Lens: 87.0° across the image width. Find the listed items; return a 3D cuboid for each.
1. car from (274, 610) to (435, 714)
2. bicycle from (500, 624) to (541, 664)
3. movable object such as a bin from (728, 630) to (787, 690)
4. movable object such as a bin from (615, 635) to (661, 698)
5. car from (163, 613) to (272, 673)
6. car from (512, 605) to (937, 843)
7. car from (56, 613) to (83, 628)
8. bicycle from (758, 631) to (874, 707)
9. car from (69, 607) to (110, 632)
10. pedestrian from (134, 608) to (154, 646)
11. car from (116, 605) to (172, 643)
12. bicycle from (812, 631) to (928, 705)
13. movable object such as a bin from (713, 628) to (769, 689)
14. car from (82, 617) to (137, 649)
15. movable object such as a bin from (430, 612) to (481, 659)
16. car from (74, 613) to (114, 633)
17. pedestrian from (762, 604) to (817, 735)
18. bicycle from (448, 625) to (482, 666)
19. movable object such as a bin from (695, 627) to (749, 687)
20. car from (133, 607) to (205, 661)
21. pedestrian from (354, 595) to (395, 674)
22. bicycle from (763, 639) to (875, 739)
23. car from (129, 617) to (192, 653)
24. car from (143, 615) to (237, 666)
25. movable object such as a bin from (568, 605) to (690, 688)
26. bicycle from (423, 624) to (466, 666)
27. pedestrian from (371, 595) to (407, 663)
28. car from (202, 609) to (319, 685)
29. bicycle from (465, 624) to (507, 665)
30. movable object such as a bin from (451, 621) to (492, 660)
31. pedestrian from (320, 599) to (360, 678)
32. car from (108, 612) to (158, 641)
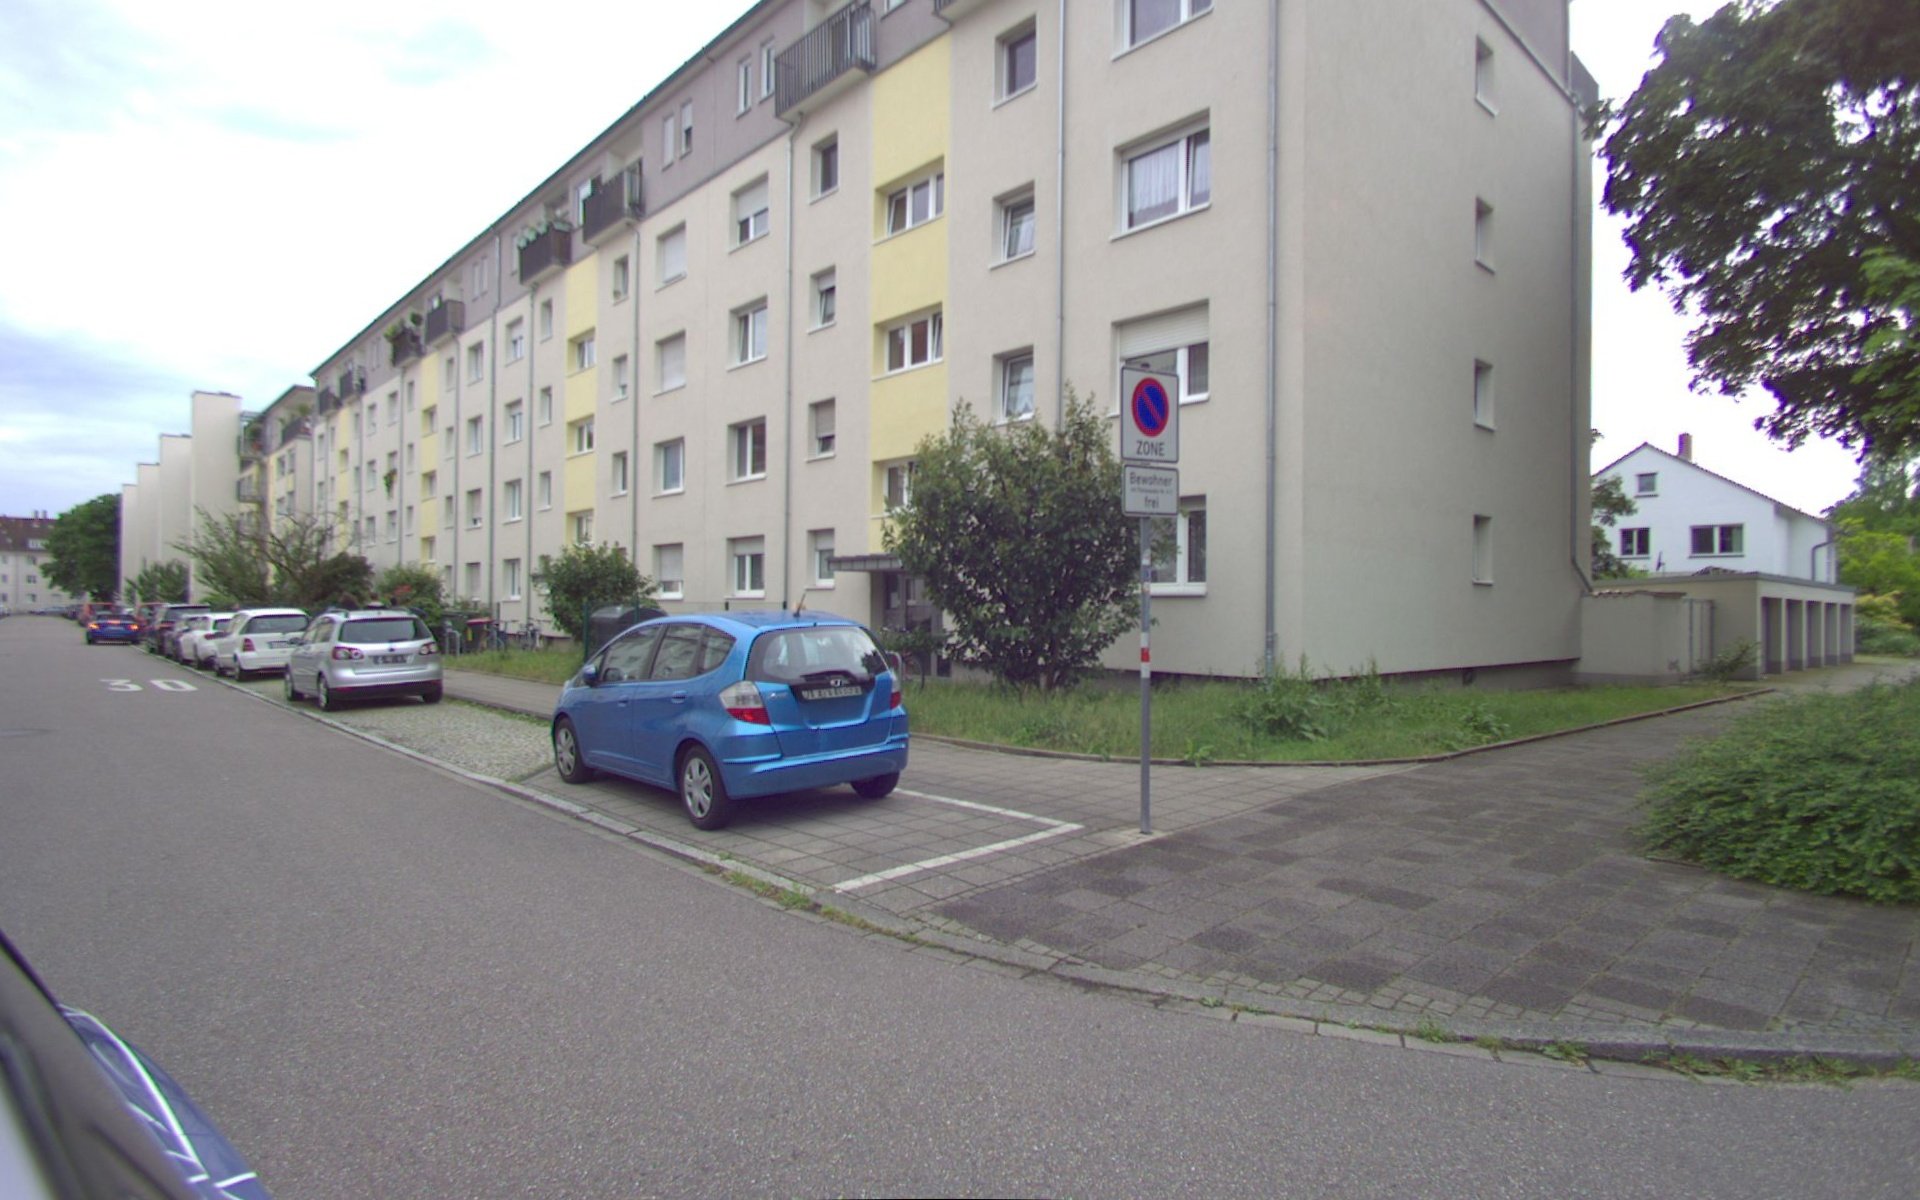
[{"bbox_3d":[-10.421,0.970,17.296,1.634,1.562,3.920,0,-1,-42],"label":"car"},{"bbox_3d":[-11.790,1.159,27.134,1.559,1.032,0.415,-1,-2,44],"label":"bicycle"},{"bbox_3d":[-3.716,1.093,18.563,0.854,1.059,0.634,1,-2,-45],"label":"movable object such as a bin"},{"bbox_3d":[-5.485,1.124,17.243,0.530,1.041,0.598,1,-2,-44],"label":"movable object such as a bin"},{"bbox_3d":[-20.501,1.153,27.871,4.689,1.521,1.698,-2,-2,45],"label":"car"},{"bbox_3d":[-2.160,0.820,8.508,1.710,1.473,3.961,-2,1,-43],"label":"car"},{"bbox_3d":[-97.635,2.260,110.932,3.636,1.555,1.722,-2,-2,41],"label":"car"},{"bbox_3d":[-2.244,1.020,15.524,0.649,1.079,2.178,1,-2,-42],"label":"bicycle"},{"bbox_3d":[-71.429,1.614,83.000,4.424,2.047,2.157,-2,-2,44],"label":"car"},{"bbox_3d":[-36.601,1.224,45.405,0.622,1.679,0.595,-1,-2,44],"label":"pedestrian"},{"bbox_3d":[-39.638,1.171,49.150,3.543,1.820,1.683,-2,-2,44],"label":"car"},{"bbox_3d":[-1.443,1.030,15.849,0.649,1.079,2.178,1,-2,-42],"label":"bicycle"},{"bbox_3d":[-4.128,1.090,19.075,0.598,1.125,0.832,-1,-2,44],"label":"movable object such as a bin"},{"bbox_3d":[-37.039,1.441,44.041,1.655,1.325,3.913,1,-2,-42],"label":"car"},{"bbox_3d":[-15.431,1.068,30.948,1.189,1.385,1.045,1,0,42],"label":"movable object such as a bin"},{"bbox_3d":[-67.142,1.785,78.457,4.199,1.455,1.985,-2,-2,45],"label":"car"},{"bbox_3d":[-2.107,0.840,12.498,0.441,1.561,0.569,1,-2,-38],"label":"pedestrian"},{"bbox_3d":[-12.855,1.157,26.275,0.352,1.032,1.499,1,-2,-44],"label":"bicycle"},{"bbox_3d":[-4.596,1.084,19.547,0.598,1.125,0.832,-1,-2,44],"label":"movable object such as a bin"},{"bbox_3d":[-28.198,1.190,36.040,1.552,1.793,4.455,1,-2,-44],"label":"car"},{"bbox_3d":[-14.272,0.831,24.655,0.698,1.868,0.764,1,-2,-43],"label":"pedestrian"},{"bbox_3d":[-1.779,1.056,12.544,0.529,1.128,1.822,1,-2,-38],"label":"bicycle"},{"bbox_3d":[-32.608,1.415,41.248,3.543,1.408,1.553,-2,-2,45],"label":"car"},{"bbox_3d":[-24.091,1.212,31.615,4.485,1.464,1.705,-1,-1,45],"label":"car"},{"bbox_3d":[-6.082,0.819,18.582,1.570,1.432,1.672,1,-2,-44],"label":"movable object such as a bin"},{"bbox_3d":[-13.269,1.133,26.027,0.482,1.032,1.880,1,-2,-43],"label":"bicycle"},{"bbox_3d":[-14.337,0.721,25.411,0.607,1.669,0.804,1,-2,-43],"label":"pedestrian"},{"bbox_3d":[-16.529,1.049,23.845,1.665,1.651,3.730,1,-2,-44],"label":"car"},{"bbox_3d":[-12.442,1.157,26.551,0.473,1.032,1.756,1,-2,-44],"label":"bicycle"},{"bbox_3d":[-14.606,1.210,30.256,0.787,1.117,0.859,1,0,43],"label":"movable object such as a bin"},{"bbox_3d":[-15.052,0.919,24.565,0.632,1.877,0.975,-1,0,-43],"label":"pedestrian"},{"bbox_3d":[-43.880,1.398,53.660,3.543,1.455,1.683,-2,-2,44],"label":"car"}]
